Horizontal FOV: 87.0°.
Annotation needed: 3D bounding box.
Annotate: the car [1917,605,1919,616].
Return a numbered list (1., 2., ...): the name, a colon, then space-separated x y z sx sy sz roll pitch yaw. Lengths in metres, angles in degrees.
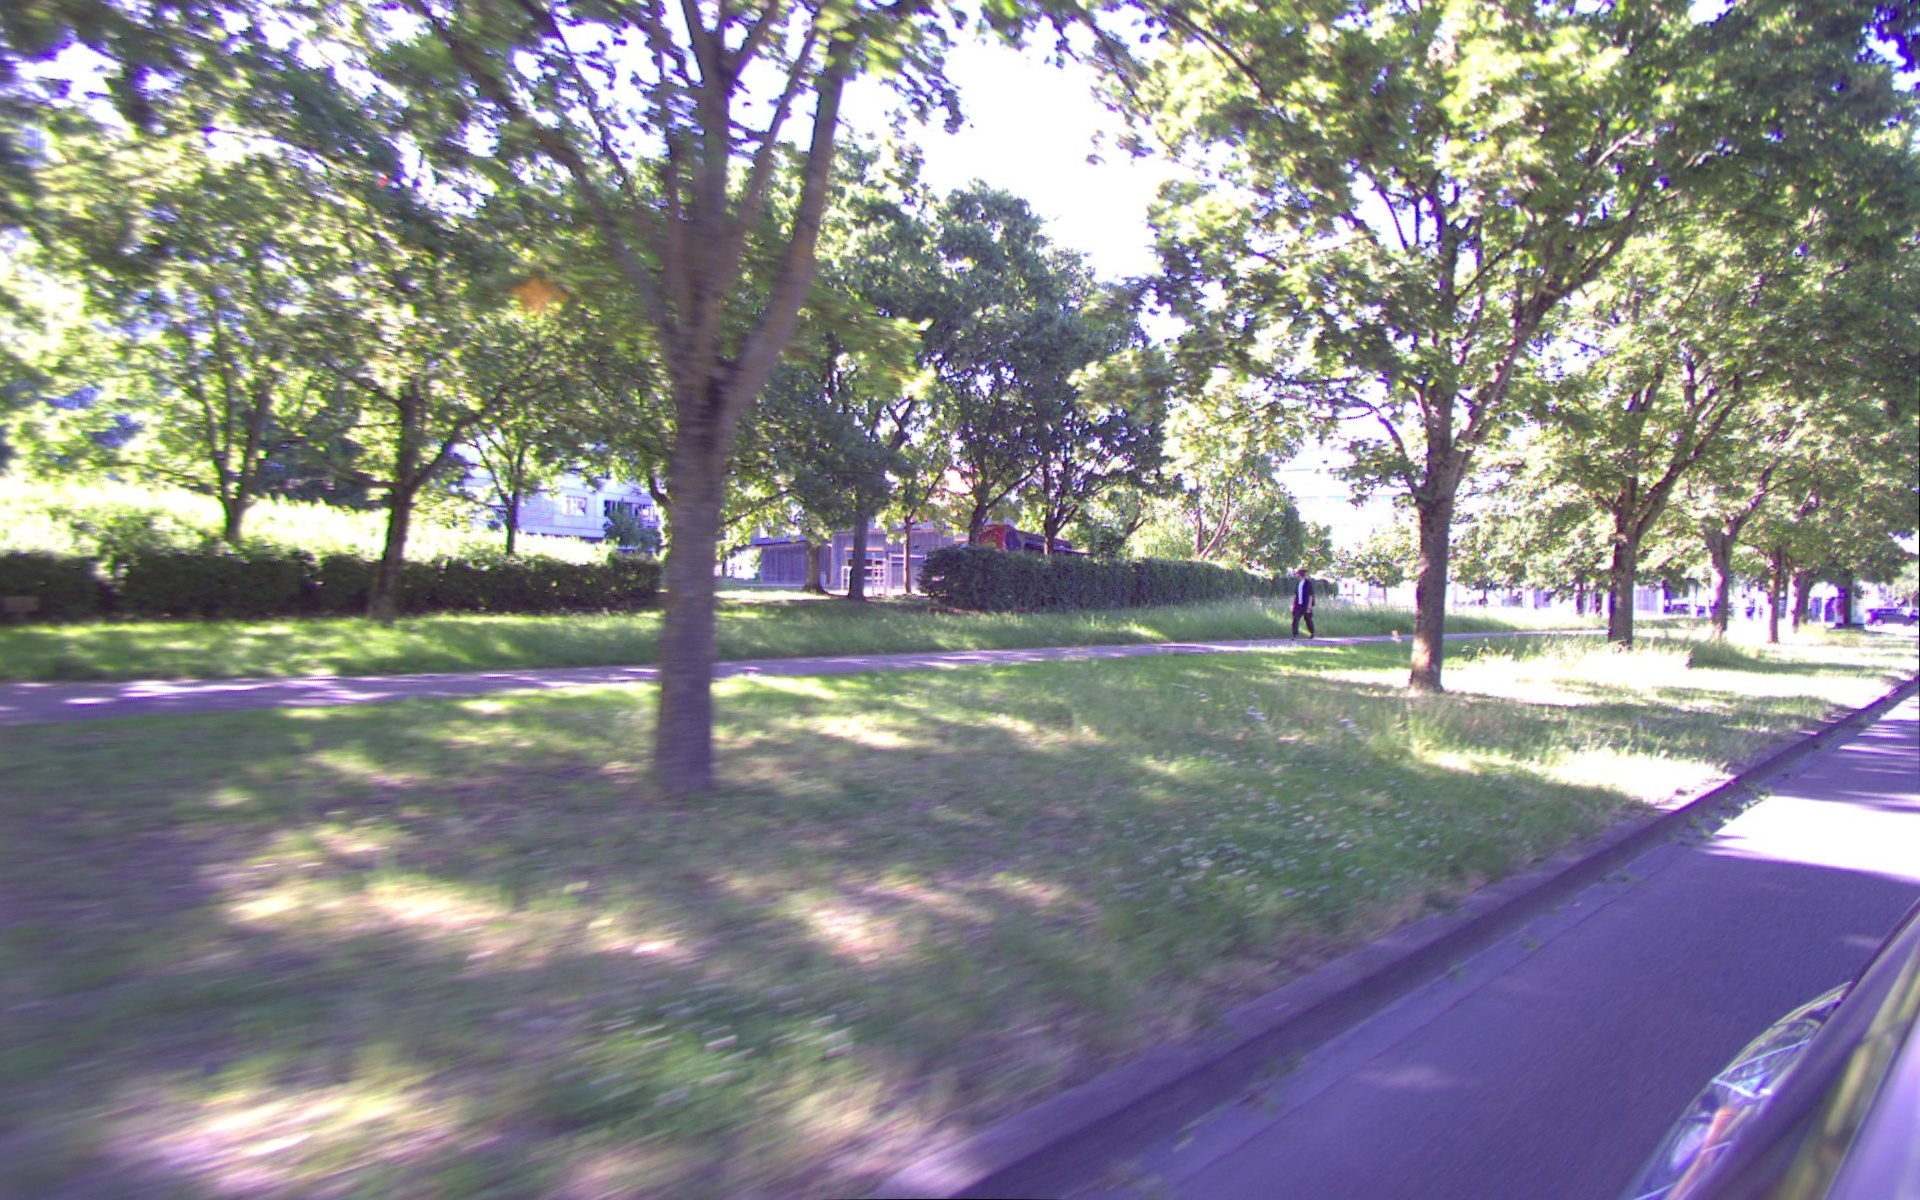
1. car: 154.744 1.731 161.570 1.818 1.731 4.197 1 0 29

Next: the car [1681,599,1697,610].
1. car: 120.651 0.702 167.519 1.679 1.731 4.197 1 0 29

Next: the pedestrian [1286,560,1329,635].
1. pedestrian: 8.659 -0.066 25.230 0.781 1.826 0.716 1 0 -44

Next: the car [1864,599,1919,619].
1. car: 82.461 0.760 88.604 4.596 1.643 1.978 2 1 32
